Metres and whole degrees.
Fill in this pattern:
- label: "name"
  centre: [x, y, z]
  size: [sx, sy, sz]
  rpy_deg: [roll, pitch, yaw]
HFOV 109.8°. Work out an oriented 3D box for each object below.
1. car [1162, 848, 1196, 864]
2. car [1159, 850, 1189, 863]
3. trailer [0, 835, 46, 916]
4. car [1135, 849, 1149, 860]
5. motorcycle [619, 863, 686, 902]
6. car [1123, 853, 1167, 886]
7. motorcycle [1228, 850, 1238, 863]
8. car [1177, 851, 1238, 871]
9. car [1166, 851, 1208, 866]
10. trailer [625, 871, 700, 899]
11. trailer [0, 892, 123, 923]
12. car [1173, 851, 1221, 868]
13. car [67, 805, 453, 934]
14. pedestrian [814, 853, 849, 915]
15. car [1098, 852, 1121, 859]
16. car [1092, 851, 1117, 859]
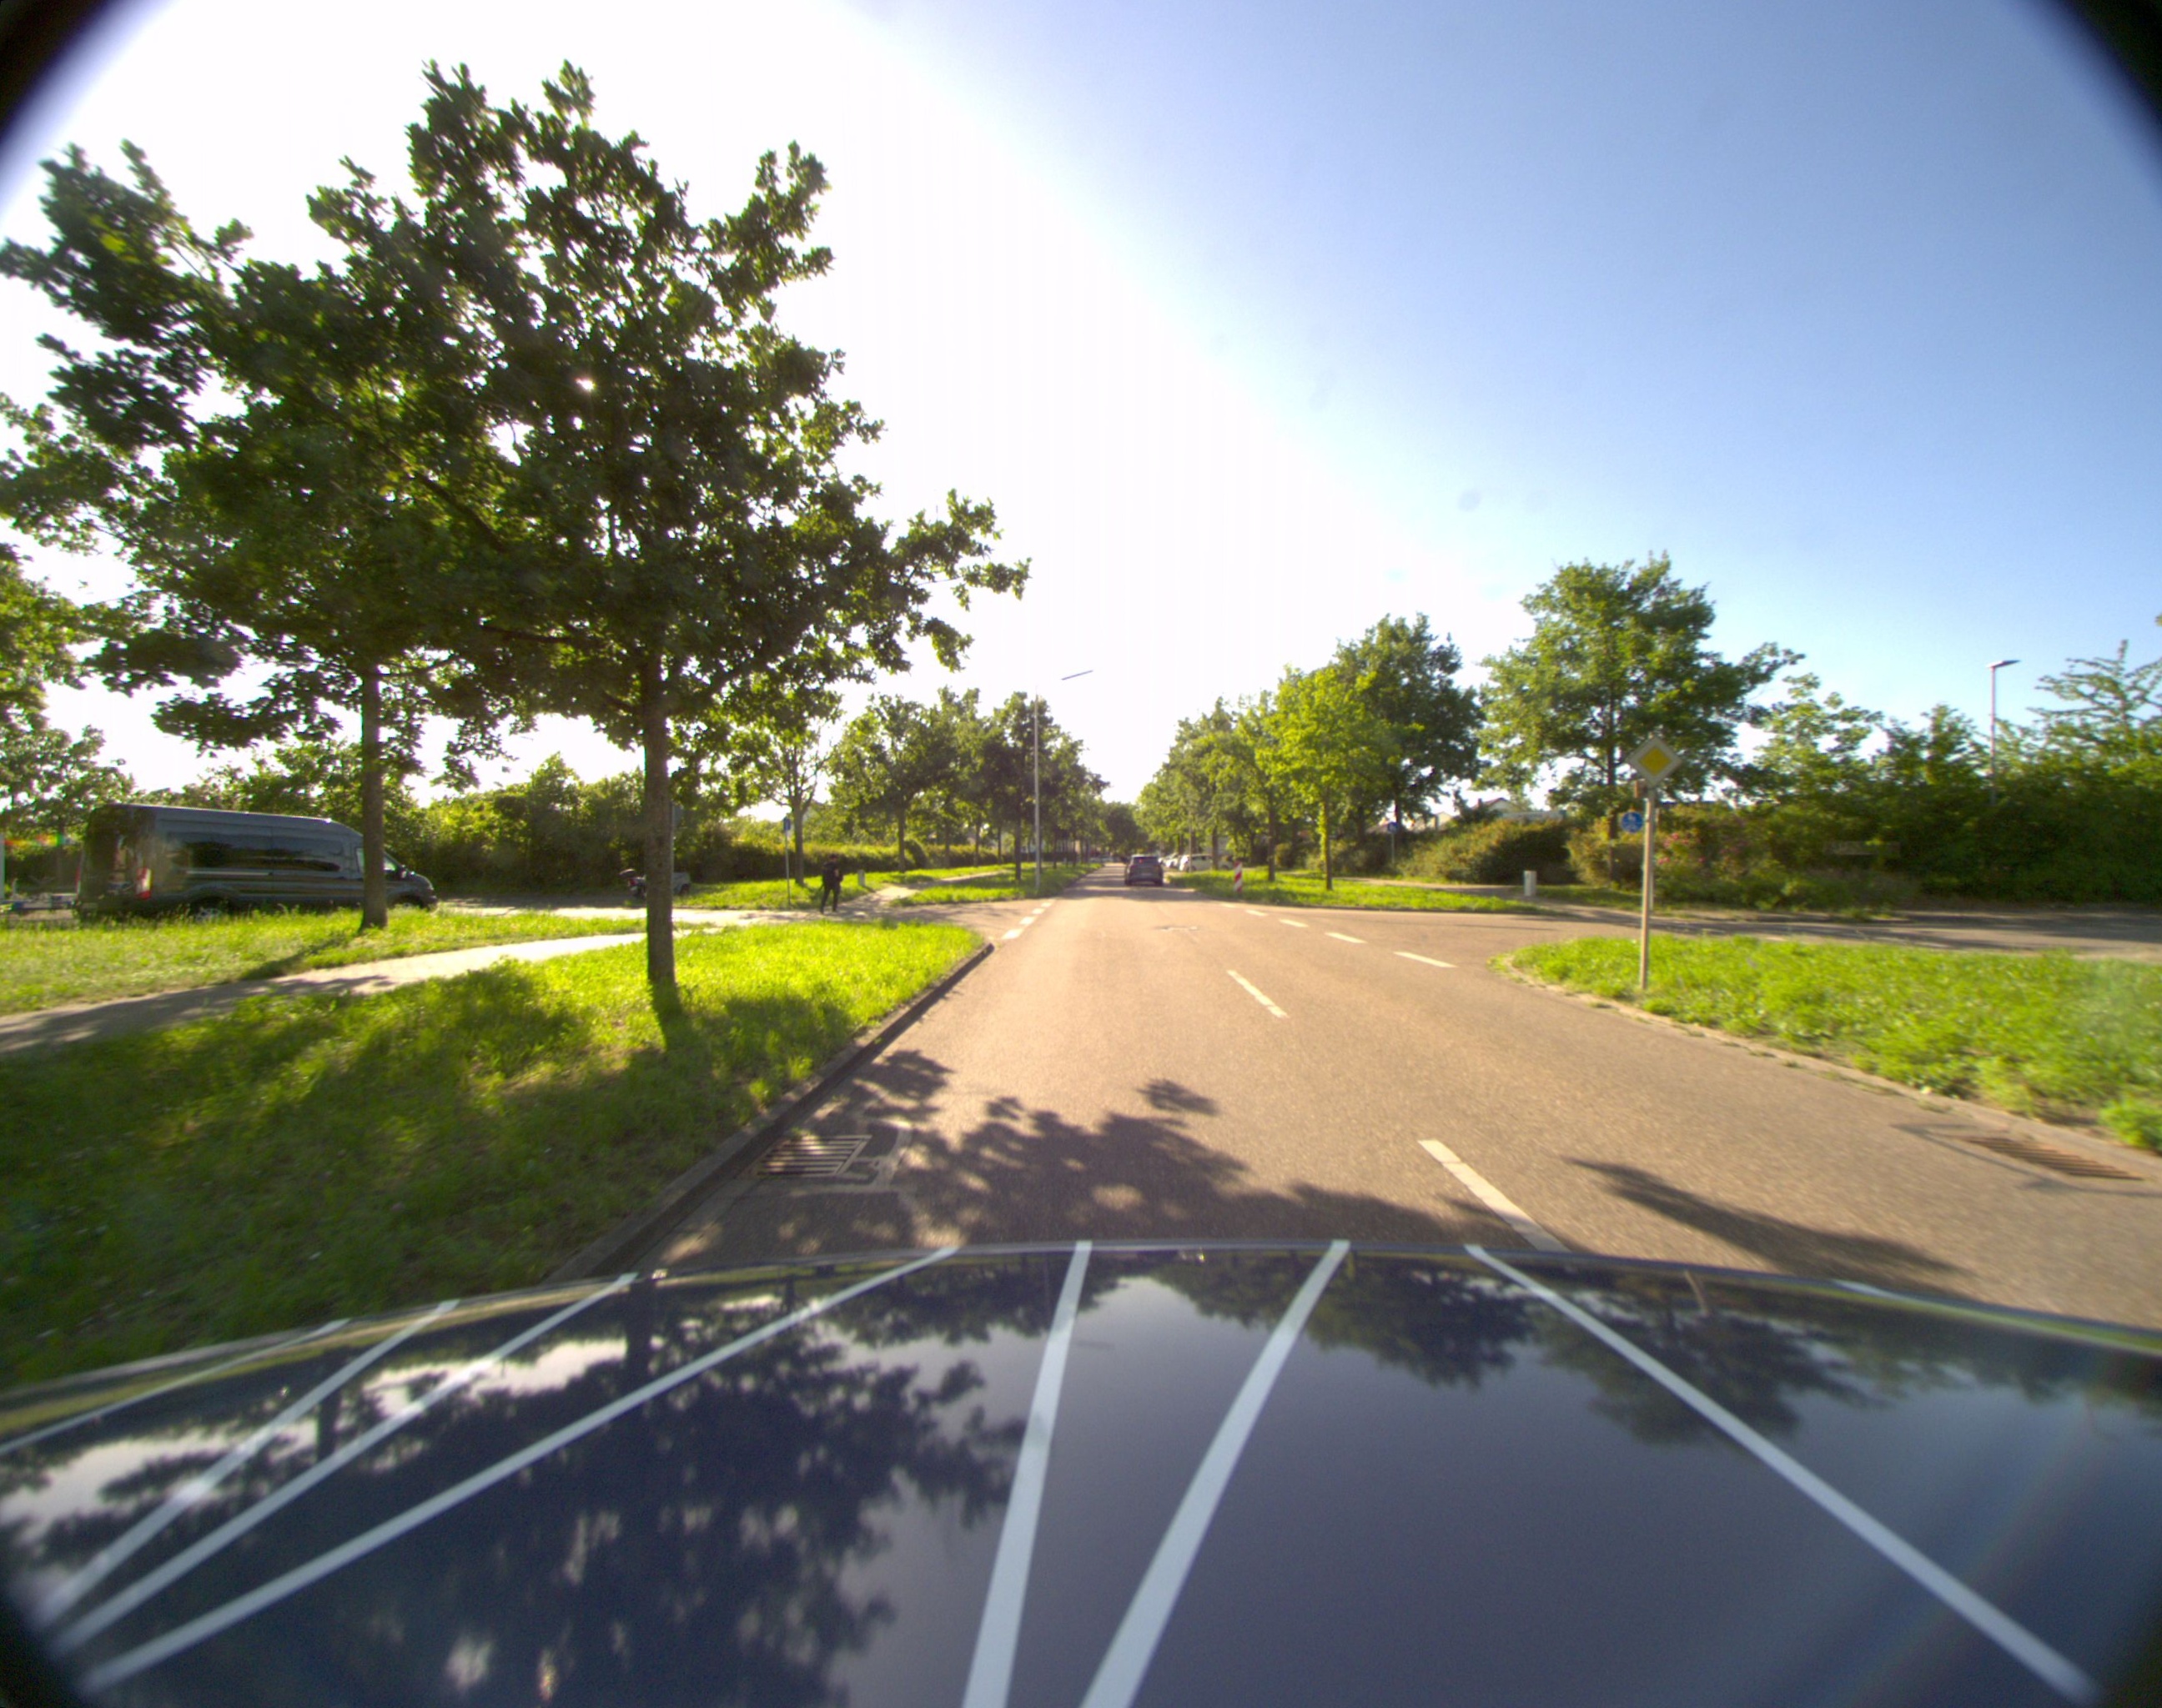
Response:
- label: "car"
  centre: [12.824, 0.261, 99.212]
  size: [4.237, 1.872, 1.999]
  rpy_deg: [-2, 0, 3]
- label: "car"
  centre: [12.804, 0.358, 104.615]
  size: [4.071, 1.633, 1.877]
  rpy_deg: [-2, 0, 6]
- label: "trailer"
  centre: [-31.628, 0.610, 20.498]
  size: [2.192, 2.294, 3.793]
  rpy_deg: [0, 0, 13]
- label: "car"
  centre: [8.333, 0.075, 103.614]
  size: [1.769, 1.520, 4.497]
  rpy_deg: [1, 0, 4]
- label: "motorcycle"
  centre: [-15.947, 1.035, 28.388]
  size: [0.664, 1.225, 2.407]
  rpy_deg: [0, 4, 13]
- label: "car"
  centre: [3.200, 0.748, 38.608]
  size: [1.809, 1.528, 4.495]
  rpy_deg: [1, 0, 0]
- label: "motorcycle"
  centre: [16.623, 0.277, 83.250]
  size: [0.739, 1.424, 1.991]
  rpy_deg: [-4, 0, 4]
- label: "car"
  centre: [10.414, 0.584, 63.010]
  size: [4.638, 1.549, 2.191]
  rpy_deg: [-2, 0, -1]
- label: "car"
  centre: [11.649, 0.476, 83.963]
  size: [4.422, 1.547, 2.089]
  rpy_deg: [-2, 0, 5]
- label: "trailer"
  centre: [-16.678, 1.222, 30.353]
  size: [1.581, 0.864, 2.055]
  rpy_deg: [0, 4, 13]
- label: "trailer"
  centre: [-28.569, 1.438, 19.251]
  size: [2.231, 0.647, 4.827]
  rpy_deg: [0, 0, 13]
- label: "car"
  centre: [11.211, 0.535, 73.684]
  size: [4.422, 1.502, 2.088]
  rpy_deg: [-2, 0, 3]
- label: "car"
  centre: [-18.950, 0.450, 18.173]
  size: [2.087, 2.550, 5.980]
  rpy_deg: [-2, -3, 13]
- label: "pedestrian"
  centre: [-7.383, 0.877, 22.486]
  size: [0.727, 1.802, 0.867]
  rpy_deg: [0, 1, 1]
- label: "car"
  centre: [5.731, 0.348, 154.217]
  size: [4.510, 1.471, 1.942]
  rpy_deg: [0, 0, 5]
- label: "car"
  centre: [4.394, 0.216, 140.562]
  size: [4.510, 1.471, 1.942]
  rpy_deg: [0, 0, 5]
